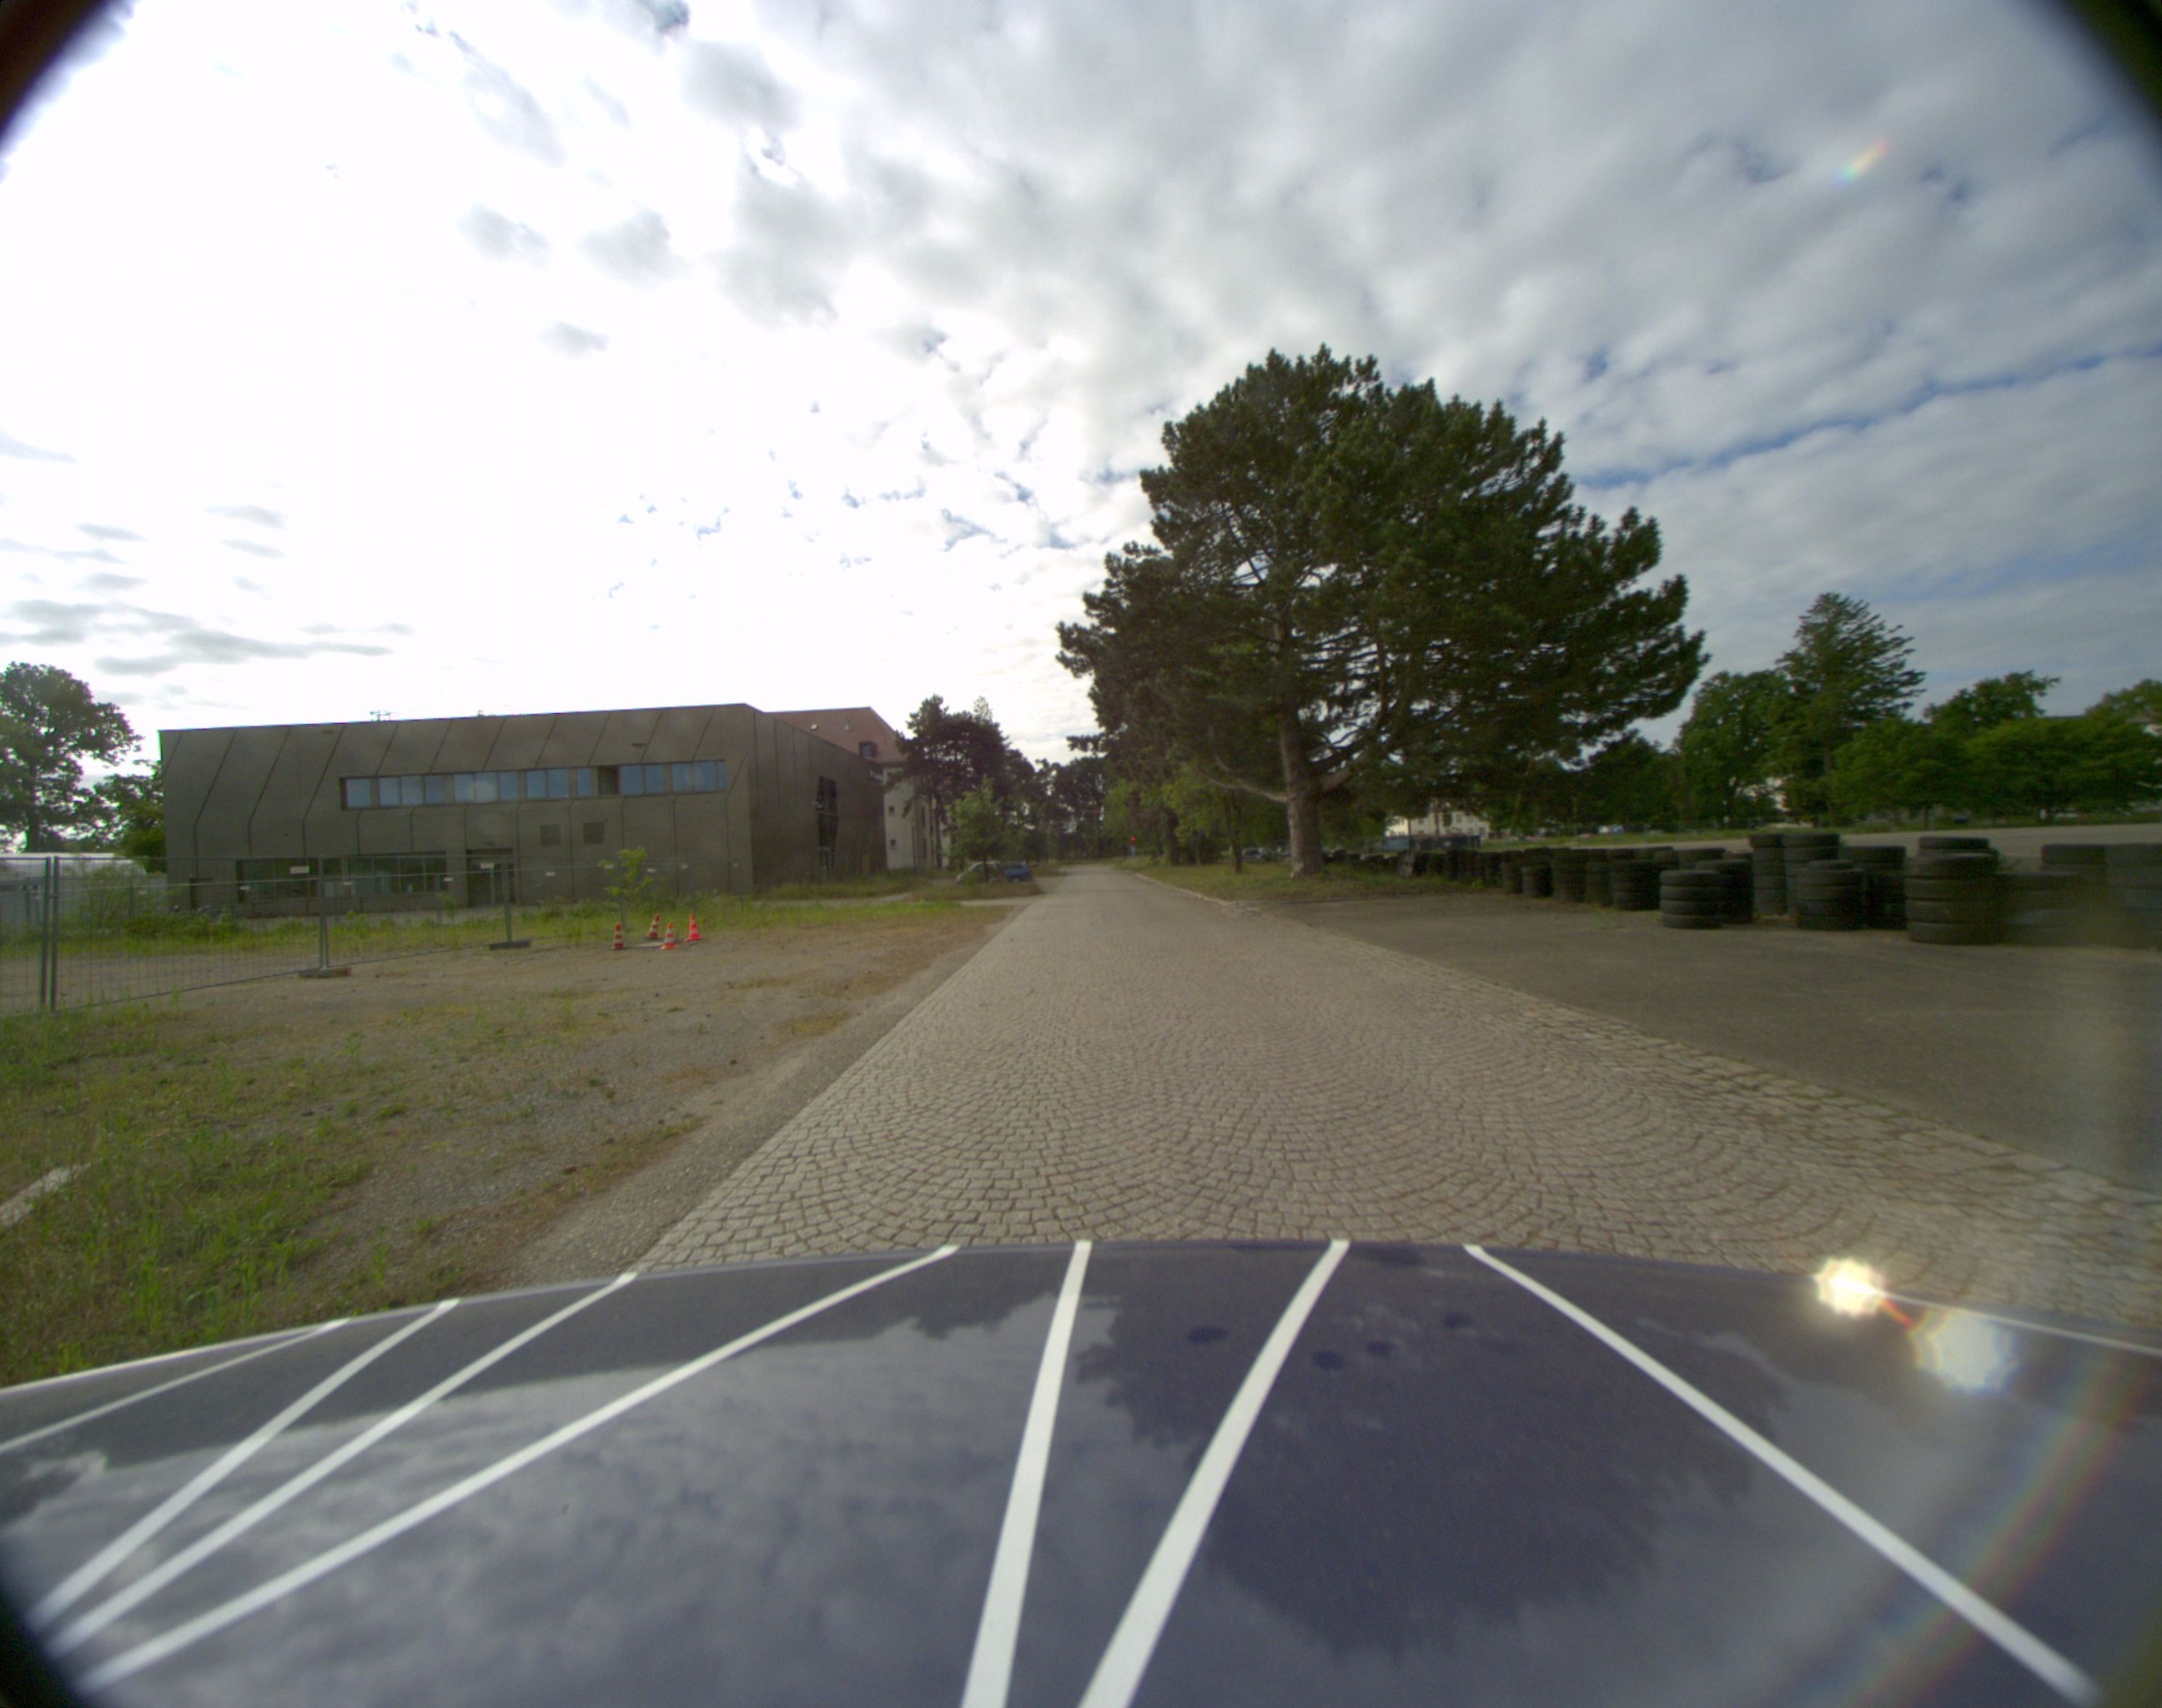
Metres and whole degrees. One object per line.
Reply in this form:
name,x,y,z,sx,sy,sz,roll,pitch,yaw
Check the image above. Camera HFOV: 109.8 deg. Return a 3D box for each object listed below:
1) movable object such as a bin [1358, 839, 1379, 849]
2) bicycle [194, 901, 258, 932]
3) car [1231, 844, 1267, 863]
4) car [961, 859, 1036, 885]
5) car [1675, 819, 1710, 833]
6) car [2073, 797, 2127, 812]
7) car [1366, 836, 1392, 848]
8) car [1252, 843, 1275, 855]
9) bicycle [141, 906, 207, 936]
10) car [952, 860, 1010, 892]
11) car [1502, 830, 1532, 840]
movable object such as a bin,32.962,-1.153,87.086,1.447,0.963,1.957,-3,0,-7
bicycle,-34.988,2.547,31.118,0.511,1.079,1.658,-3,0,10
car,13.610,-0.030,61.744,1.829,1.408,4.420,-1,0,-2
car,-5.115,1.083,47.363,4.503,1.467,1.830,-1,0,-2
car,88.772,-4.041,110.417,1.828,1.712,4.585,-3,0,8
car,142.313,-6.909,106.176,1.829,1.712,4.290,-5,0,1
car,43.436,-1.737,110.916,1.829,1.466,4.401,-3,0,-3
car,23.798,-0.601,99.242,1.829,1.417,4.319,-3,0,-3
bicycle,-37.251,2.738,31.226,0.511,1.079,1.658,-3,0,10
car,-5.252,1.160,40.083,2.716,1.547,1.654,-2,0,2
car,63.414,-2.784,110.636,1.711,1.343,4.402,-3,0,0
